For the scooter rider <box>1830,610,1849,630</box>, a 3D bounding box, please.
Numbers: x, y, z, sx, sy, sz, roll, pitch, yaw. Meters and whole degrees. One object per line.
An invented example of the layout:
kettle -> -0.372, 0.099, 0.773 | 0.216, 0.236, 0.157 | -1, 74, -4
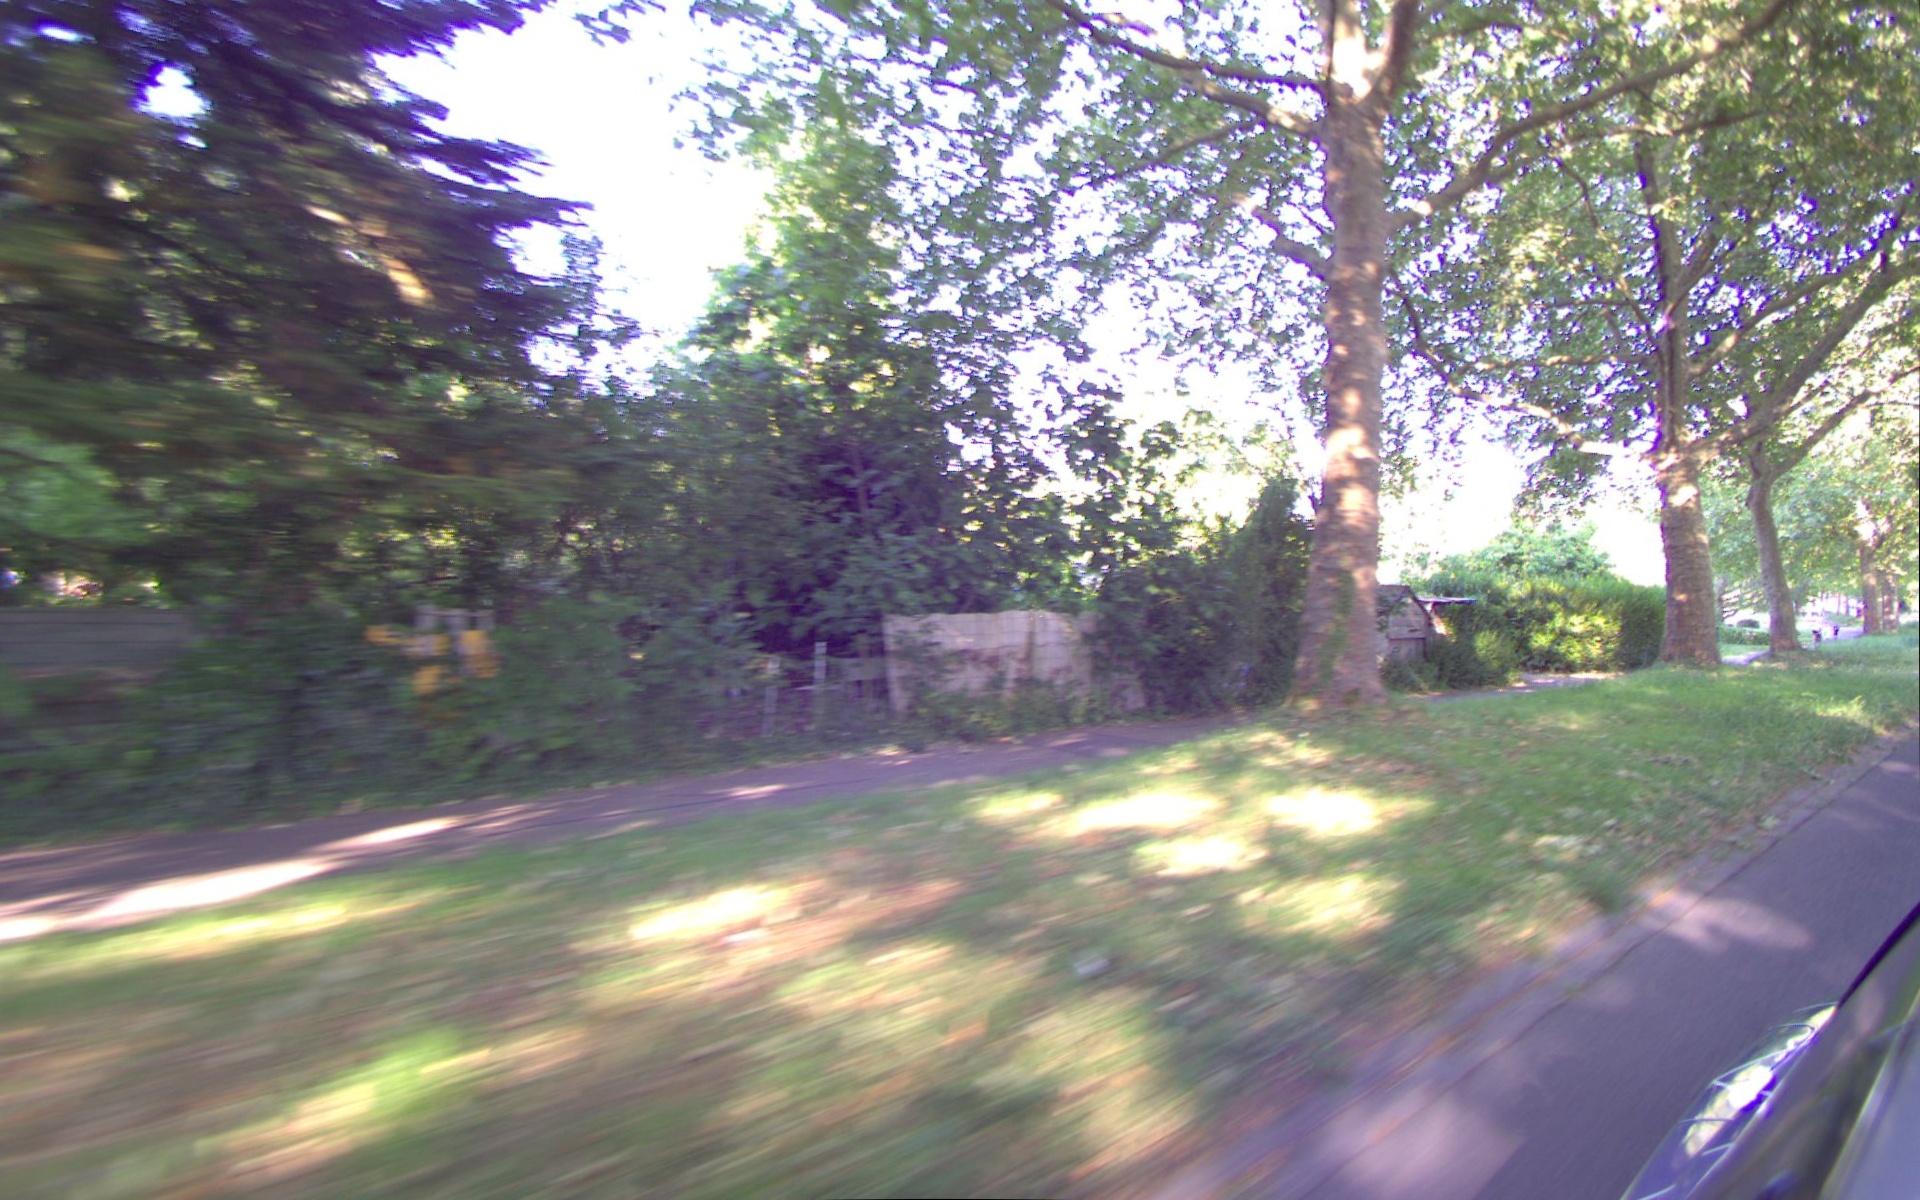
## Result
scooter rider -> 71.391, 1.617, 82.125 | 0.829, 1.596, 0.784 | 1, -1, -1

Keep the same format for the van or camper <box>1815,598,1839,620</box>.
van or camper -> 119.080, 1.212, 139.039 | 2.377, 2.835, 5.603 | 0, 1, 40

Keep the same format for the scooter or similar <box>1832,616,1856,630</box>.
scooter or similar -> 71.686, 1.842, 82.090 | 1.572, 1.149, 0.340 | 0, 0, 7

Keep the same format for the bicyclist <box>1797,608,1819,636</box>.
bicyclist -> 43.332, 1.127, 51.698 | 0.757, 1.383, 0.736 | 0, 0, -38

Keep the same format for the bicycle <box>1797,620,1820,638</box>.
bicycle -> 43.445, 1.480, 51.793 | 1.854, 0.827, 0.554 | 0, 1, -39

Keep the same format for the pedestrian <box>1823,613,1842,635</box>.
pedestrian -> 64.708, 1.780, 75.057 | 0.768, 1.596, 0.847 | 0, 0, -20
